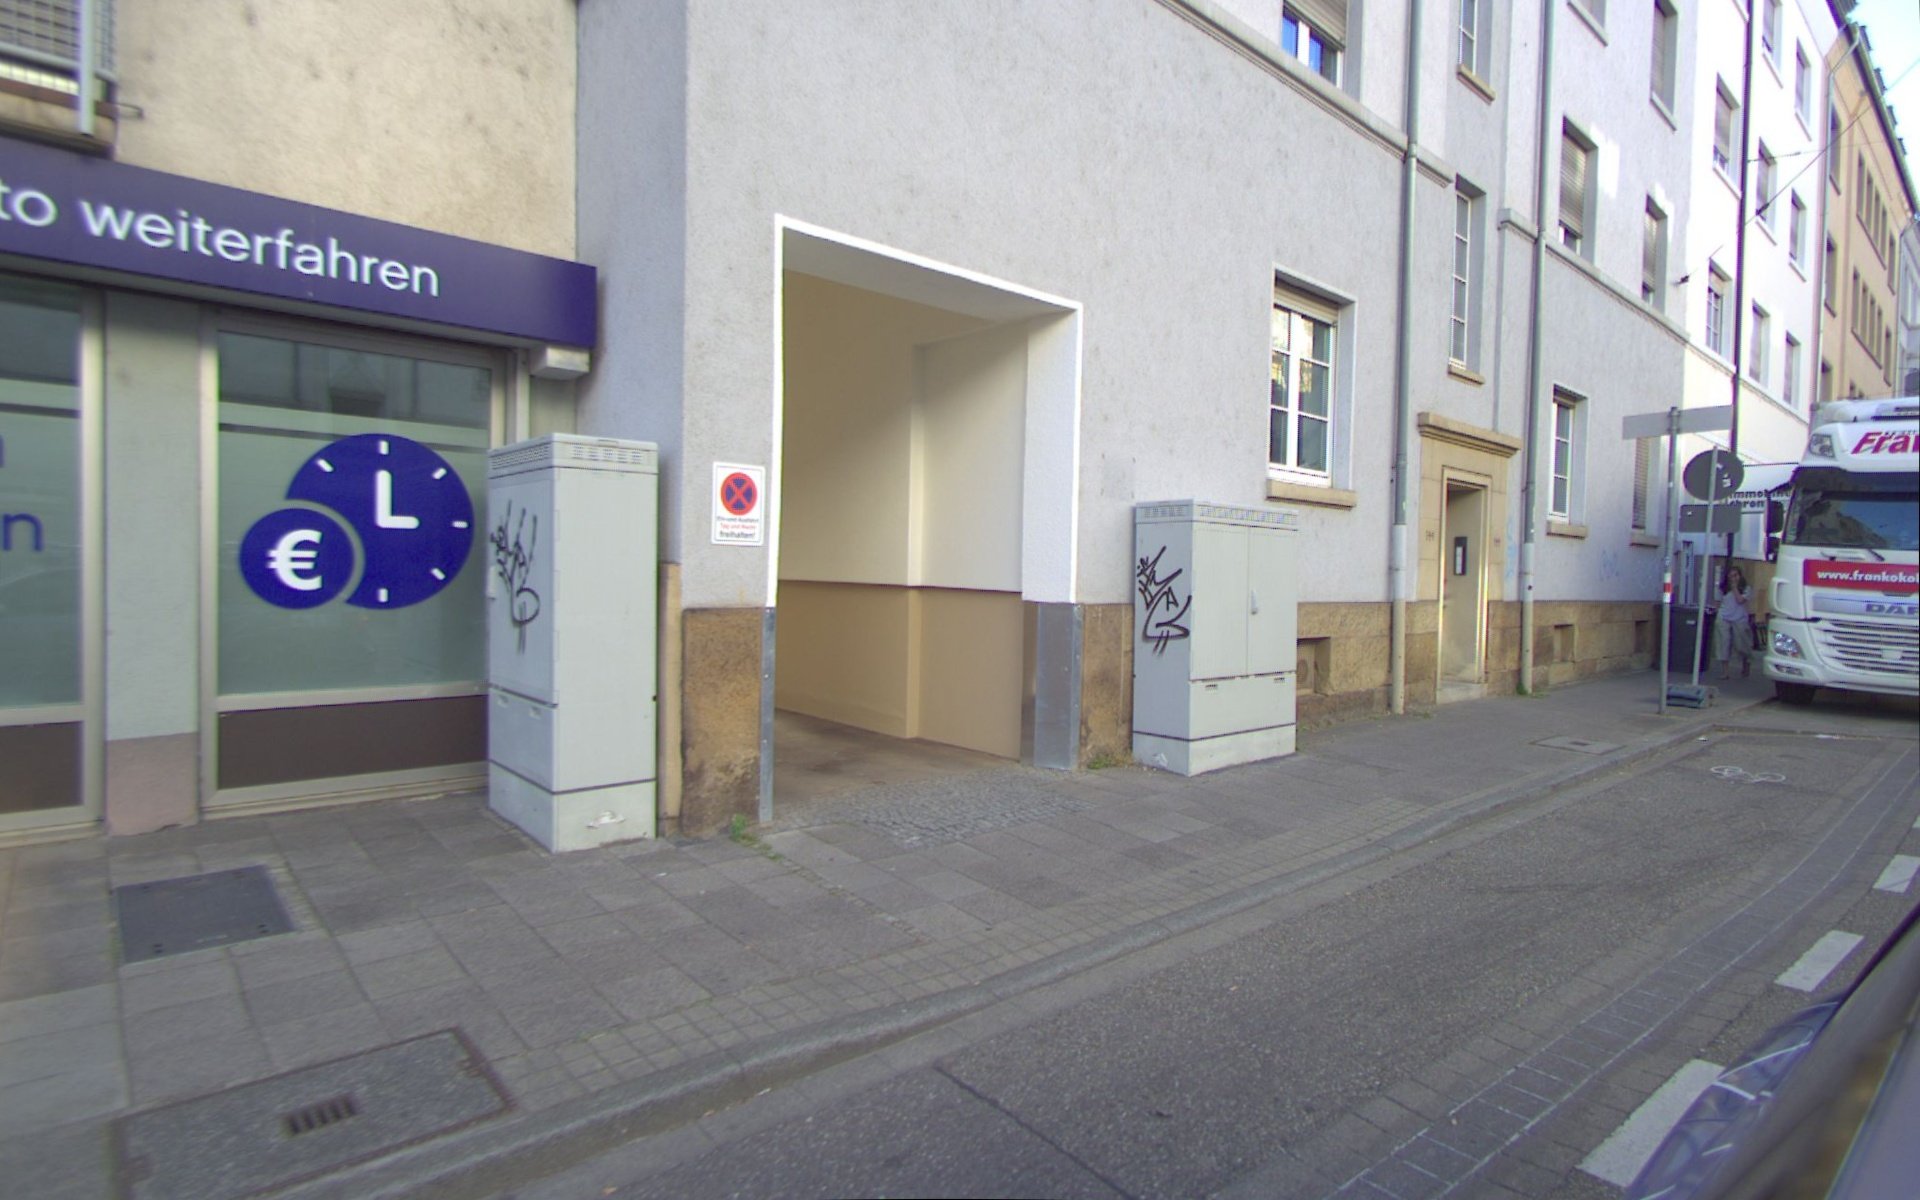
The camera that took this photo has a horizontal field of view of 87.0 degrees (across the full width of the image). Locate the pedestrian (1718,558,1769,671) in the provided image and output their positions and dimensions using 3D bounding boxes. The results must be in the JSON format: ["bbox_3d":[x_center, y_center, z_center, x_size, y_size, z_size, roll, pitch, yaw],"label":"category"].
[{"bbox_3d":[11.764,0.203,15.192,0.459,1.649,0.475,-1,2,-40],"label":"pedestrian"}]

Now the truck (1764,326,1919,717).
[{"bbox_3d":[14.938,-0.991,14.893,11.573,4.290,2.698,-2,3,-41],"label":"truck"}]
